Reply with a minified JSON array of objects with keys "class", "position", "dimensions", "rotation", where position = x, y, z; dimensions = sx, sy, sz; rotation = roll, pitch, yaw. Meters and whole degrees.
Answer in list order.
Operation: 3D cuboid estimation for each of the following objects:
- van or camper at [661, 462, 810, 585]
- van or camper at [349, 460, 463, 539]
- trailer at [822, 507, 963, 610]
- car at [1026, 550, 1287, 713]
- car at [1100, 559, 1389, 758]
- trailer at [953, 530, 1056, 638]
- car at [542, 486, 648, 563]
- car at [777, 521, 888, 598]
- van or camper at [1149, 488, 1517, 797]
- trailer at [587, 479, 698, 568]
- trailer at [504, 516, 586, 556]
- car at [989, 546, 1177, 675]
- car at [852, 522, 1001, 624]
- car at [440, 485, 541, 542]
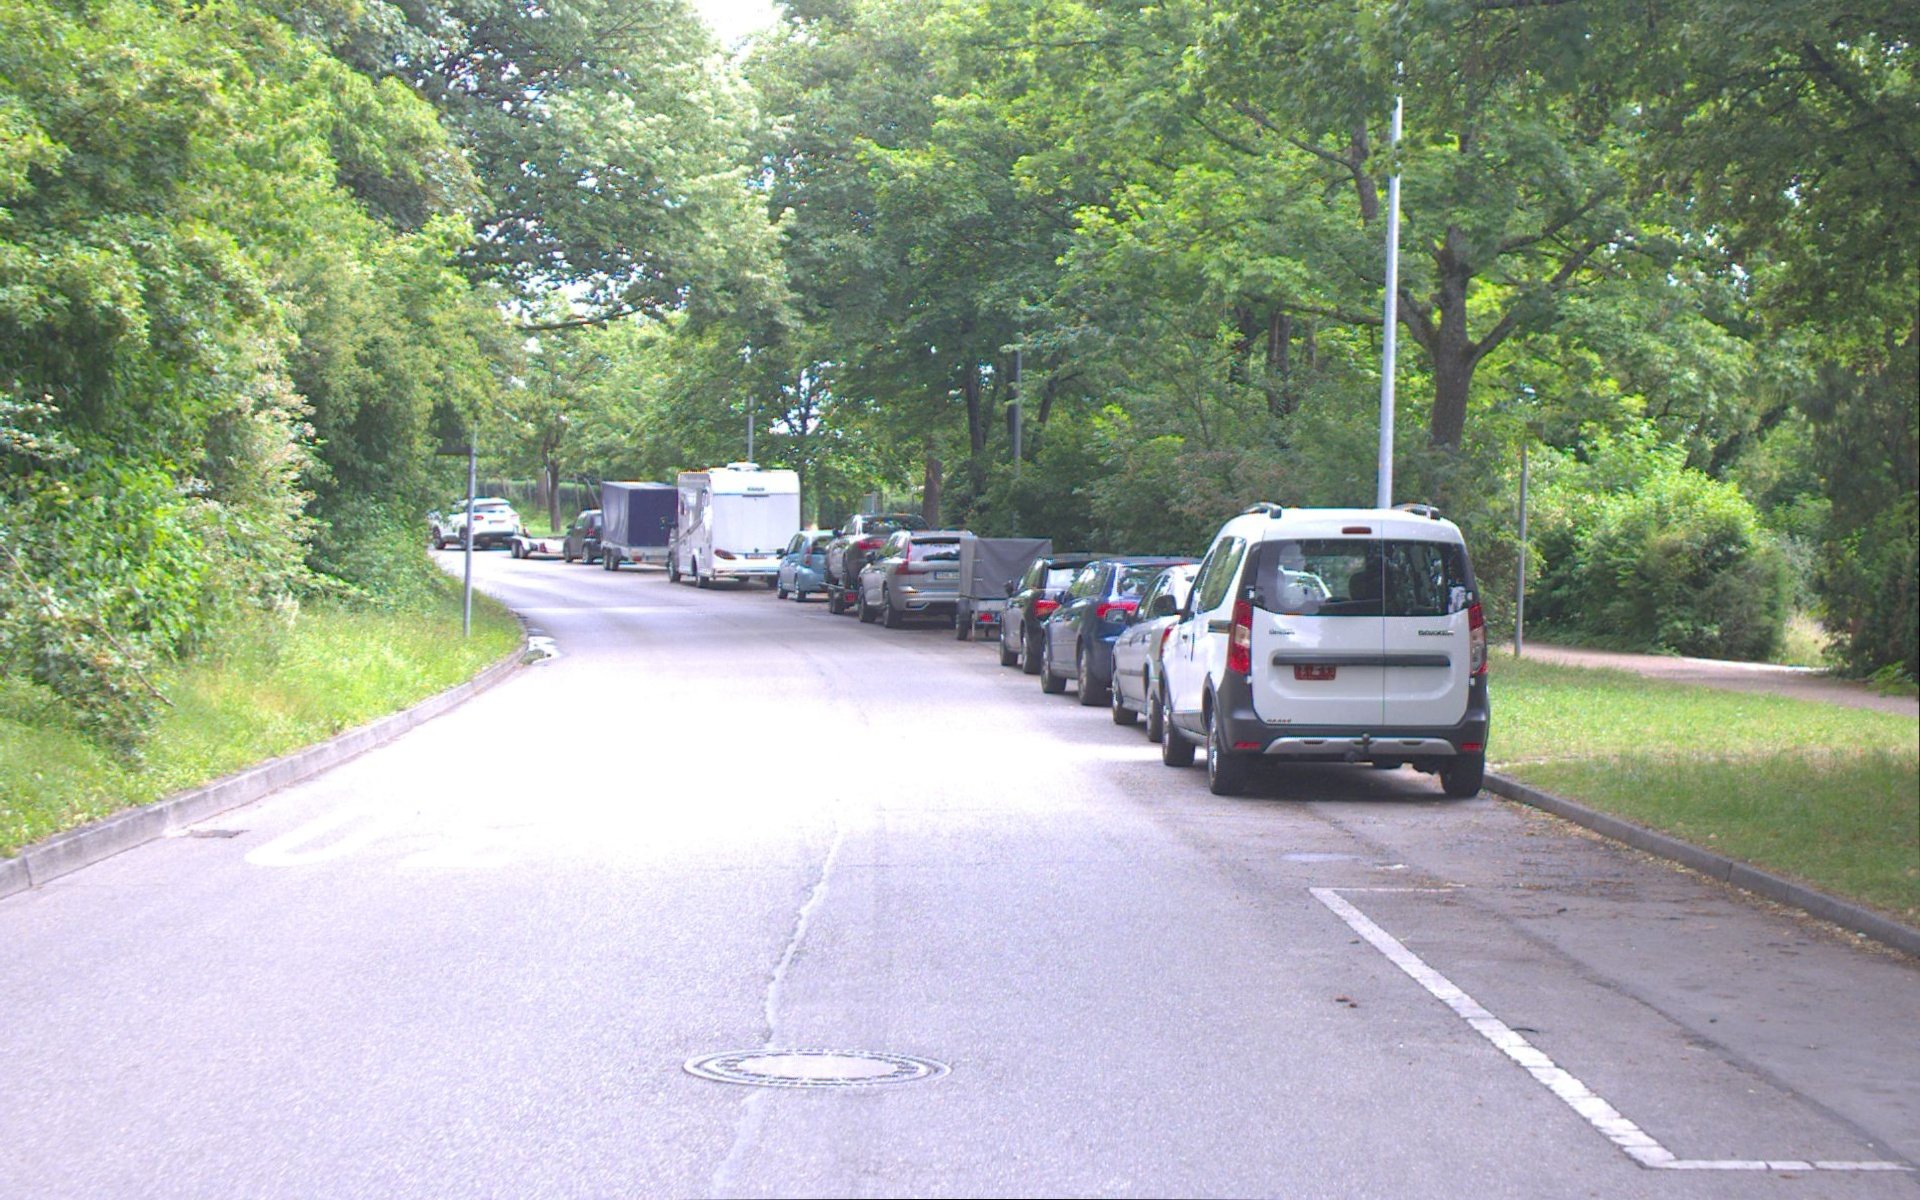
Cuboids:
[{"class":"van or camper","position":[-5.593,-1.890,84.623],"dimensions":[2.481,2.866,6.892],"rotation":[1,1,-14]},{"class":"van or camper","position":[-19.434,-3.564,120.506],"dimensions":[2.526,2.688,4.576],"rotation":[-1,3,-29]},{"class":"trailer","position":[-1.326,-0.819,65.263],"dimensions":[1.978,1.805,5.150],"rotation":[0,2,-9]},{"class":"car","position":[1.904,0.268,34.679],"dimensions":[1.847,1.469,4.480],"rotation":[1,1,-7]},{"class":"car","position":[2.289,0.426,28.703],"dimensions":[1.812,1.432,4.243],"rotation":[2,1,-3]},{"class":"trailer","position":[0.663,-0.260,52.786],"dimensions":[1.278,1.579,2.461],"rotation":[1,1,-6]},{"class":"car","position":[-10.663,-2.226,100.186],"dimensions":[1.993,2.018,4.002],"rotation":[-3,4,-22]},{"class":"car","position":[-2.792,-0.902,74.531],"dimensions":[1.799,1.556,3.837],"rotation":[0,2,-11]},{"class":"van or camper","position":[2.376,0.270,22.952],"dimensions":[1.802,1.831,4.321],"rotation":[1,0,-2]},{"class":"trailer","position":[-8.803,-2.128,95.004],"dimensions":[1.993,2.390,4.001],"rotation":[0,2,-21]},{"class":"trailer","position":[-12.561,-1.954,103.890],"dimensions":[1.651,1.083,4.002],"rotation":[-2,3,-19]},{"class":"car","position":[1.451,0.094,42.025],"dimensions":[1.720,1.448,3.918],"rotation":[1,1,-6]},{"class":"car","position":[-0.614,-0.452,58.939],"dimensions":[1.791,1.664,4.503],"rotation":[0,0,-10]},{"class":"car","position":[-15.420,-2.854,112.749],"dimensions":[2.034,1.797,4.084],"rotation":[0,2,-27]}]
